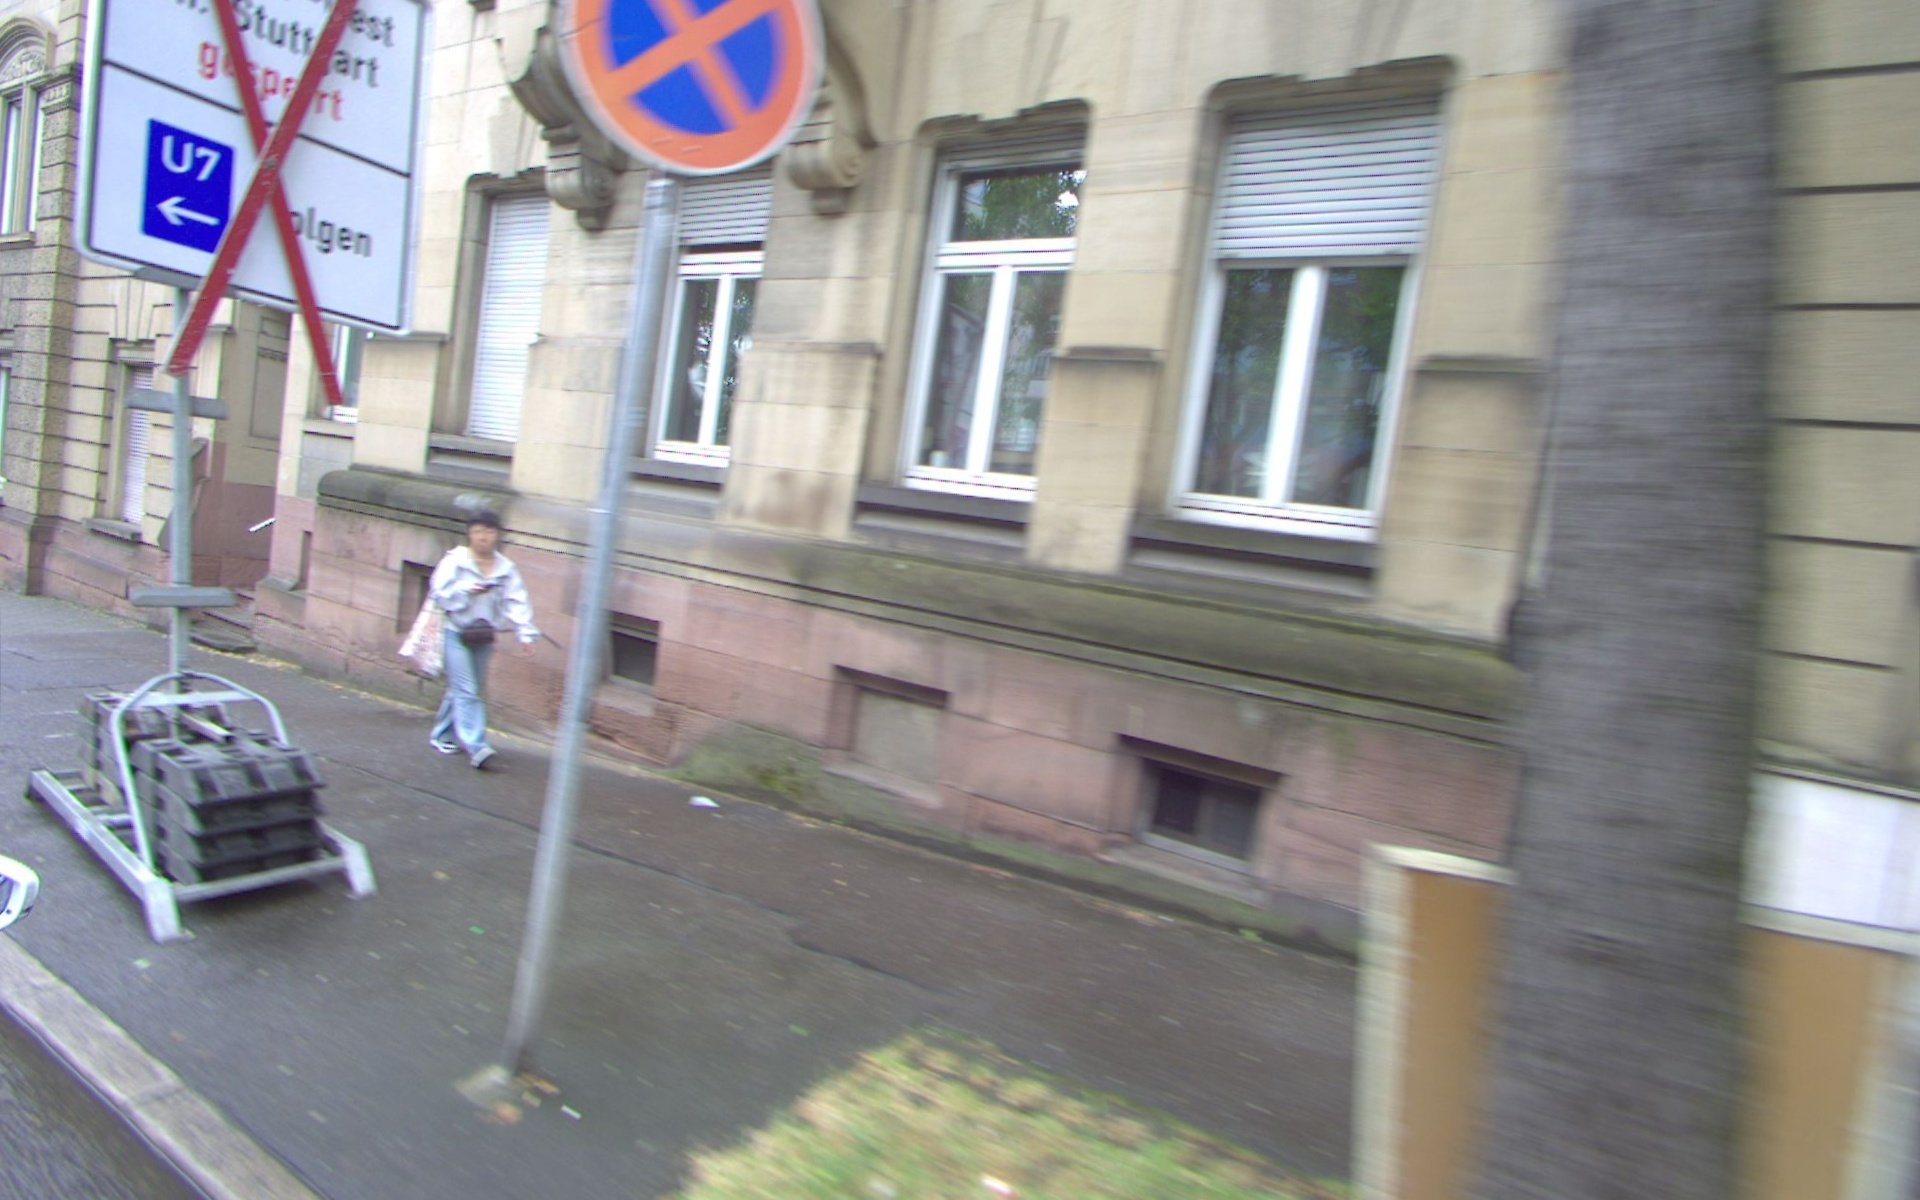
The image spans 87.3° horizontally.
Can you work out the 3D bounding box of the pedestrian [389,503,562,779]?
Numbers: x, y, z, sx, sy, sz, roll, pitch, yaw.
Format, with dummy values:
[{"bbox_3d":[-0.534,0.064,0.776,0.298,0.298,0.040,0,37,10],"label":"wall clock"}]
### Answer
[{"bbox_3d":[-2.935,0.220,6.100,0.682,1.530,0.630,7,5,32],"label":"pedestrian"}]
